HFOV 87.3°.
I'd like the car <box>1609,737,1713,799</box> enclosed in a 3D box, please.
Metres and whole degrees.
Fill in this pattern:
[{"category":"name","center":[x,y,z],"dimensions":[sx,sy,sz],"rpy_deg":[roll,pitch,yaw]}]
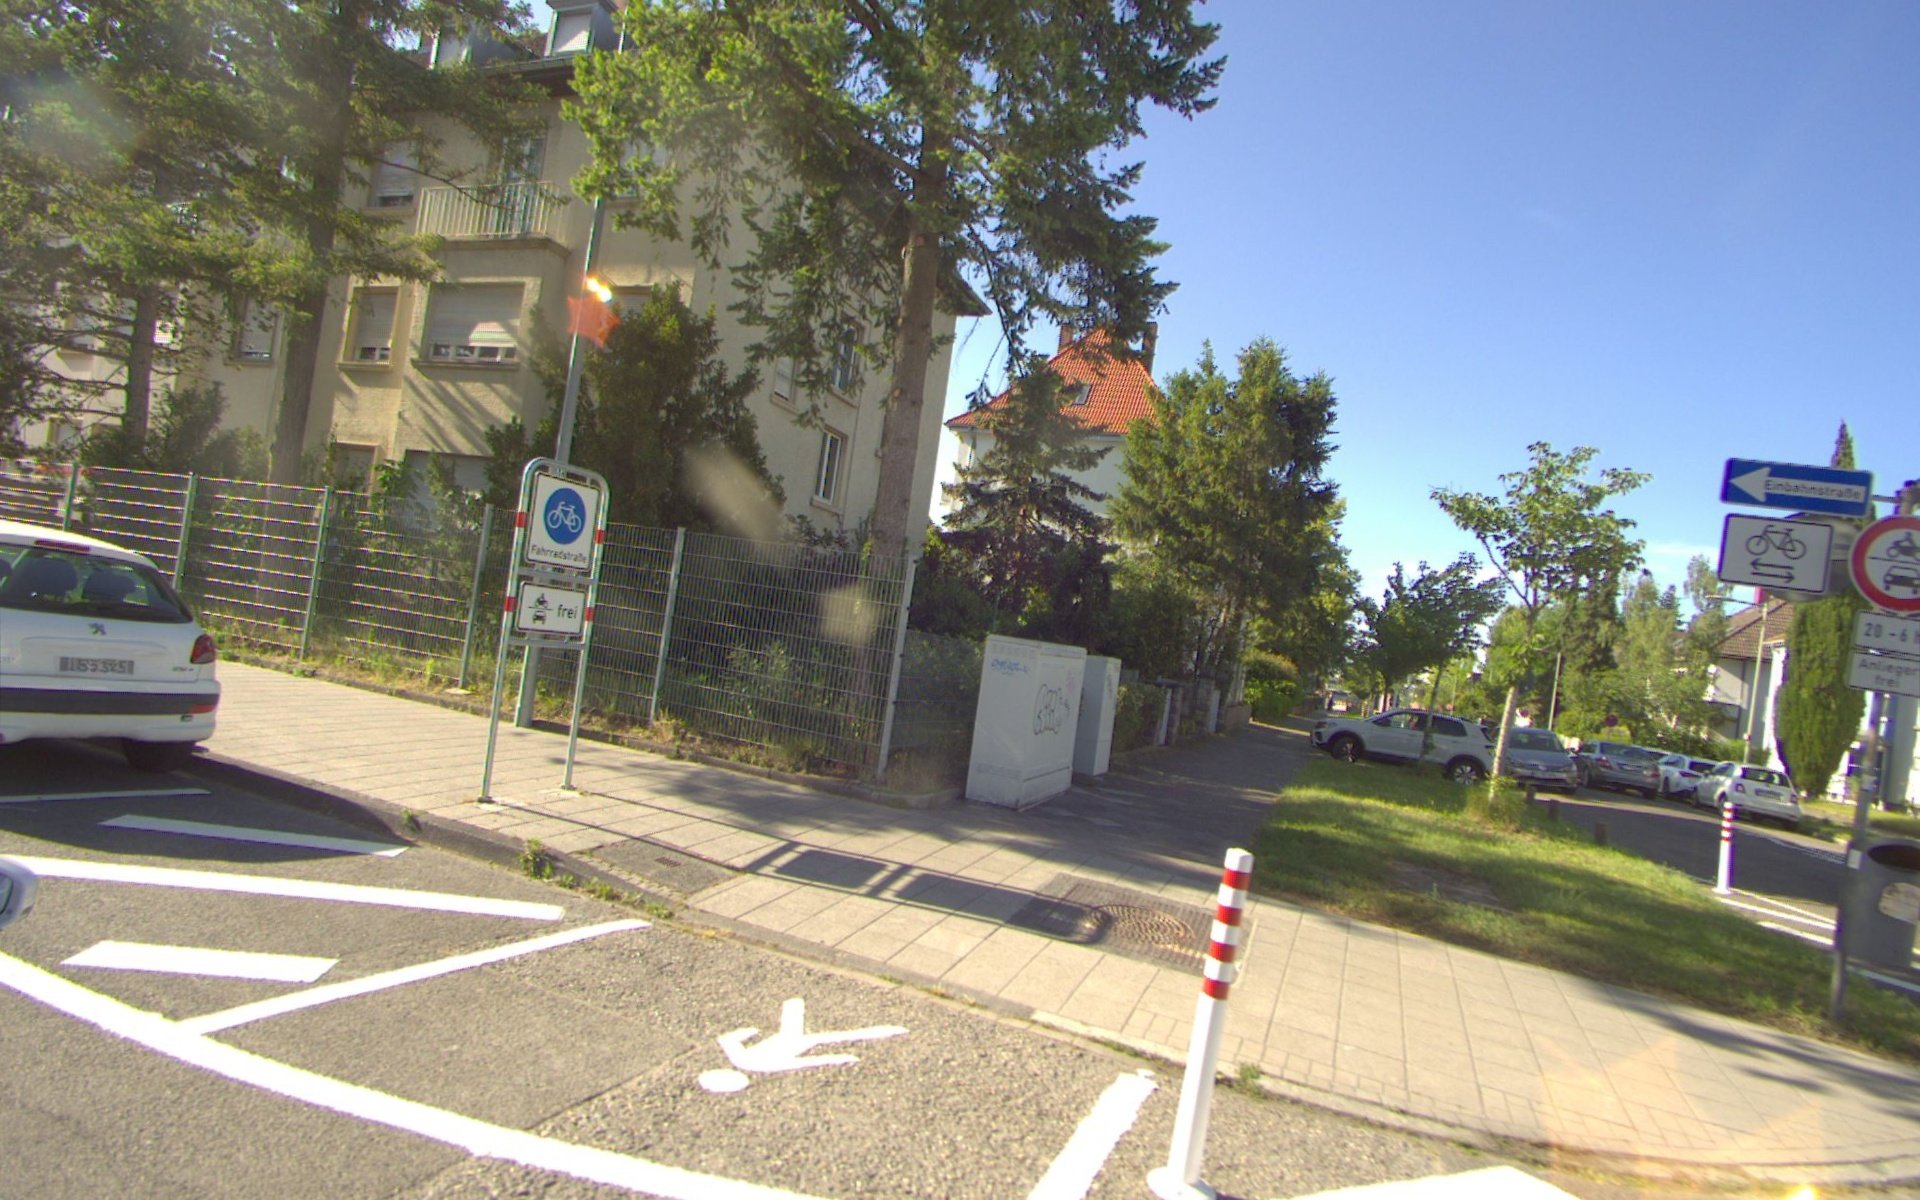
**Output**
[{"category":"car","center":[25.330,6.040,36.508],"dimensions":[1.963,1.628,4.004],"rpy_deg":[7,-2,20]}]

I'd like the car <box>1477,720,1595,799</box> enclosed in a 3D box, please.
[{"category":"car","center":[15.307,4.182,26.941],"dimensions":[1.963,1.627,4.004],"rpy_deg":[4,-4,20]}]

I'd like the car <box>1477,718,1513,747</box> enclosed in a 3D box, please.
[{"category":"car","center":[41.826,10.313,78.731],"dimensions":[1.826,1.862,4.004],"rpy_deg":[7,-2,21]}]

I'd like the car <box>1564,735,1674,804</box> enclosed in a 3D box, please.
[{"category":"car","center":[19.179,4.884,29.473],"dimensions":[1.808,1.457,4.003],"rpy_deg":[8,-2,23]}]

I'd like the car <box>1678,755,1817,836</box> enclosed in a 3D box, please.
[{"category":"car","center":[21.023,5.177,27.048],"dimensions":[1.706,1.496,3.729],"rpy_deg":[7,-2,20]}]

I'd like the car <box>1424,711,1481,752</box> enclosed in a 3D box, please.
[{"category":"car","center":[23.864,6.357,48.858],"dimensions":[1.963,1.627,4.004],"rpy_deg":[4,-4,20]}]

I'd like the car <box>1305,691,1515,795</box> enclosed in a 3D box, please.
[{"category":"car","center":[10.334,3.264,23.464],"dimensions":[4.127,1.581,1.844],"rpy_deg":[8,-2,19]}]

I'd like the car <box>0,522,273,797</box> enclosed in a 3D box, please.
[{"category":"car","center":[-6.506,0.161,6.321],"dimensions":[3.707,1.413,1.709],"rpy_deg":[7,-3,22]}]
